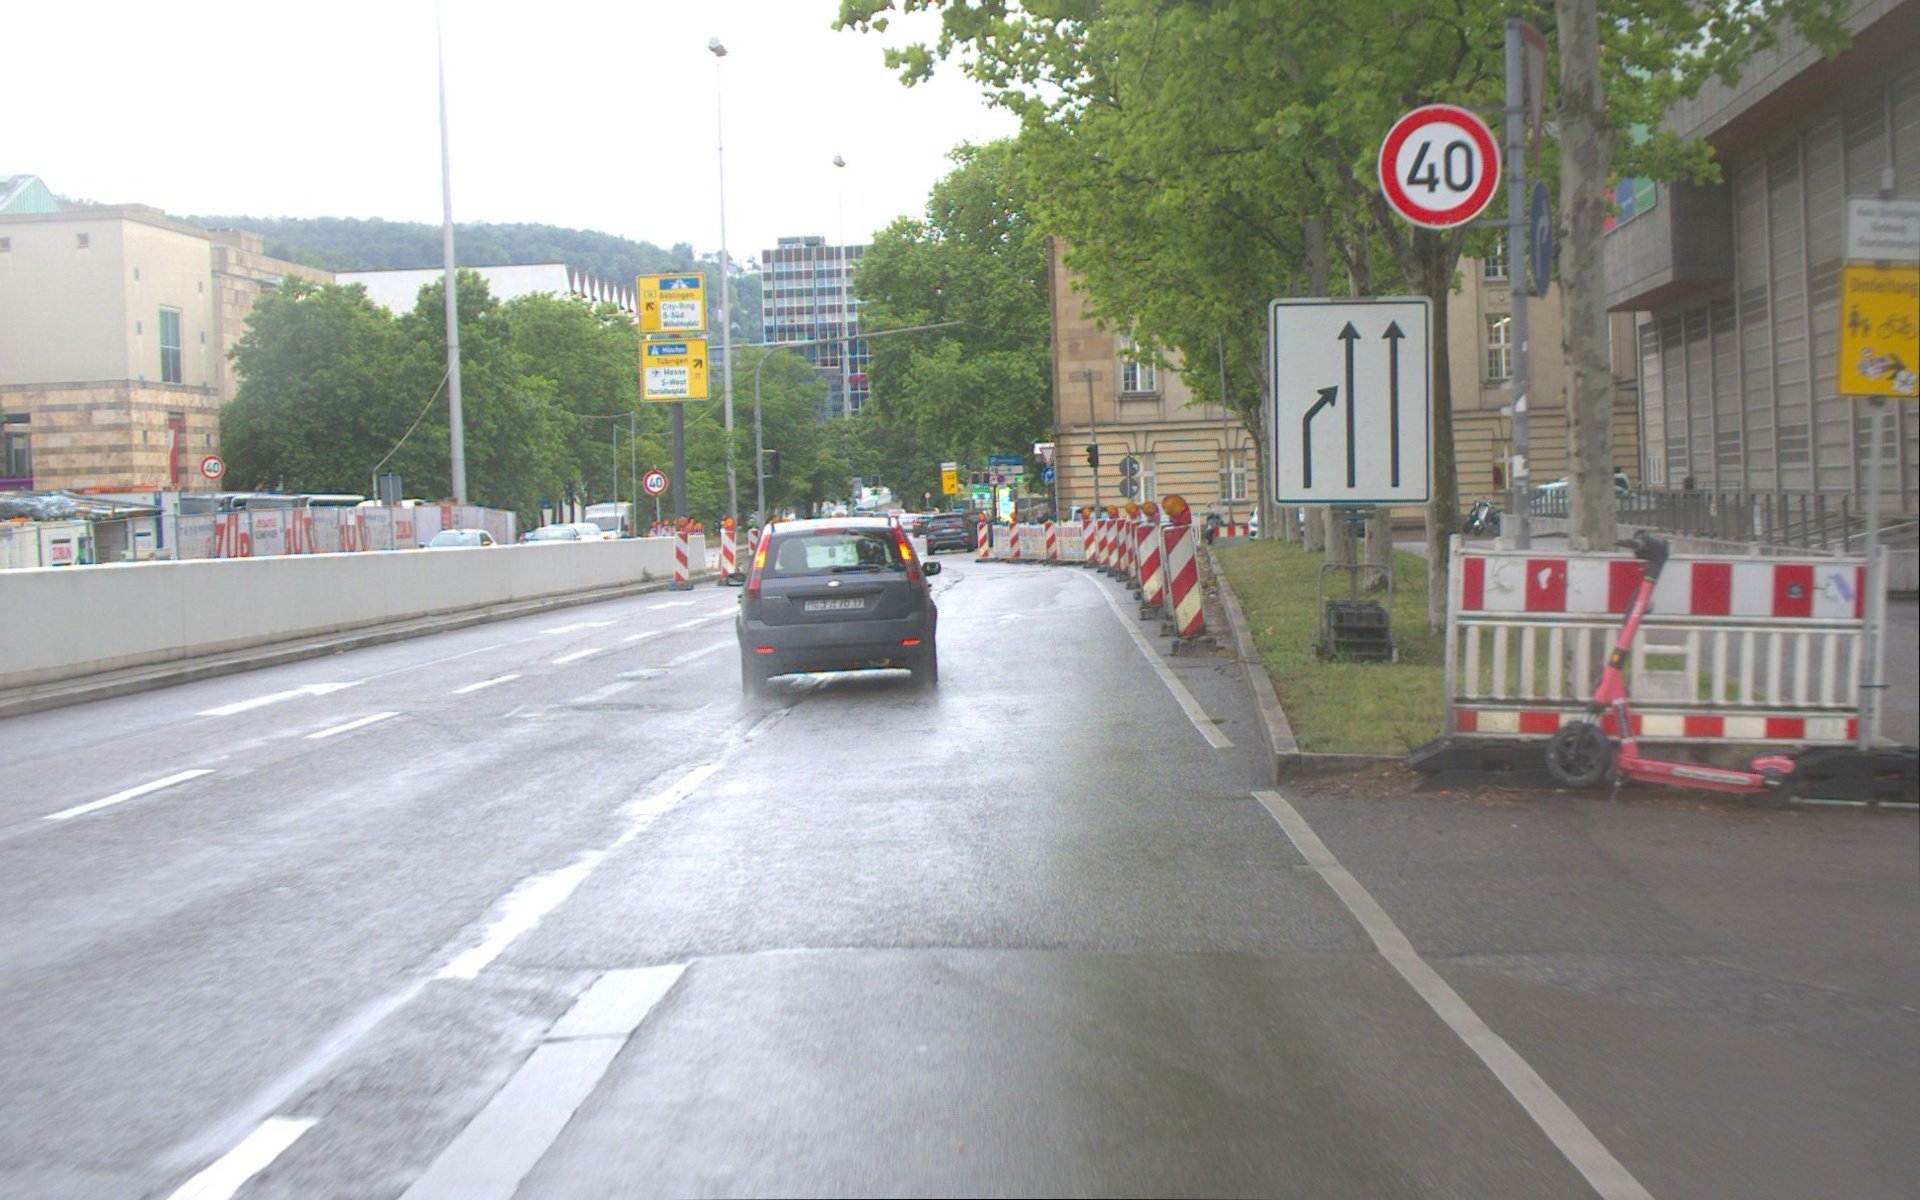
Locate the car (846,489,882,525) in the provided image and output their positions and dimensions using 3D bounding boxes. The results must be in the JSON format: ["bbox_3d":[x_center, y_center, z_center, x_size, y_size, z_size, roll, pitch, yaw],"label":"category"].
[{"bbox_3d":[-5.595,-5.434,200.761,1.993,2.007,4.000,0,0,-3],"label":"car"}]

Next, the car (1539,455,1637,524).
[{"bbox_3d":[17.921,-3.136,98.305,1.994,1.754,5.096,-2,0,2],"label":"car"}]

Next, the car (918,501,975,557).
[{"bbox_3d":[-0.494,-2.697,130.020,1.993,2.006,4.000,-1,2,2],"label":"car"}]

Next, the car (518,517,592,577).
[{"bbox_3d":[-13.899,-1.842,118.237,1.993,2.007,4.000,0,1,1],"label":"car"}]

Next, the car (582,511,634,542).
[{"bbox_3d":[-13.677,-2.867,133.682,1.626,1.191,3.405,0,1,1],"label":"car"}]

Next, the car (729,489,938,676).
[{"bbox_3d":[-1.117,-0.200,29.582,1.670,1.422,3.759,0,3,-3],"label":"car"}]

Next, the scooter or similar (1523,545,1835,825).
[{"bbox_3d":[3.361,0.391,16.149,1.355,1.281,0.619,0,0,3],"label":"scooter or similar"}]

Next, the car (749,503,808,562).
[{"bbox_3d":[-4.534,-1.685,86.077,1.385,1.381,3.067,-3,1,-3],"label":"car"}]

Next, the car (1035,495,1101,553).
[{"bbox_3d":[3.337,-2.383,106.501,1.993,1.702,4.000,-1,2,2],"label":"car"}]

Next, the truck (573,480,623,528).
[{"bbox_3d":[-18.782,-4.963,178.349,2.412,2.331,5.445,0,0,-8],"label":"truck"}]

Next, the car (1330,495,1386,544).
[{"bbox_3d":[14.609,-2.939,126.137,1.994,1.703,3.999,0,0,6],"label":"car"}]
